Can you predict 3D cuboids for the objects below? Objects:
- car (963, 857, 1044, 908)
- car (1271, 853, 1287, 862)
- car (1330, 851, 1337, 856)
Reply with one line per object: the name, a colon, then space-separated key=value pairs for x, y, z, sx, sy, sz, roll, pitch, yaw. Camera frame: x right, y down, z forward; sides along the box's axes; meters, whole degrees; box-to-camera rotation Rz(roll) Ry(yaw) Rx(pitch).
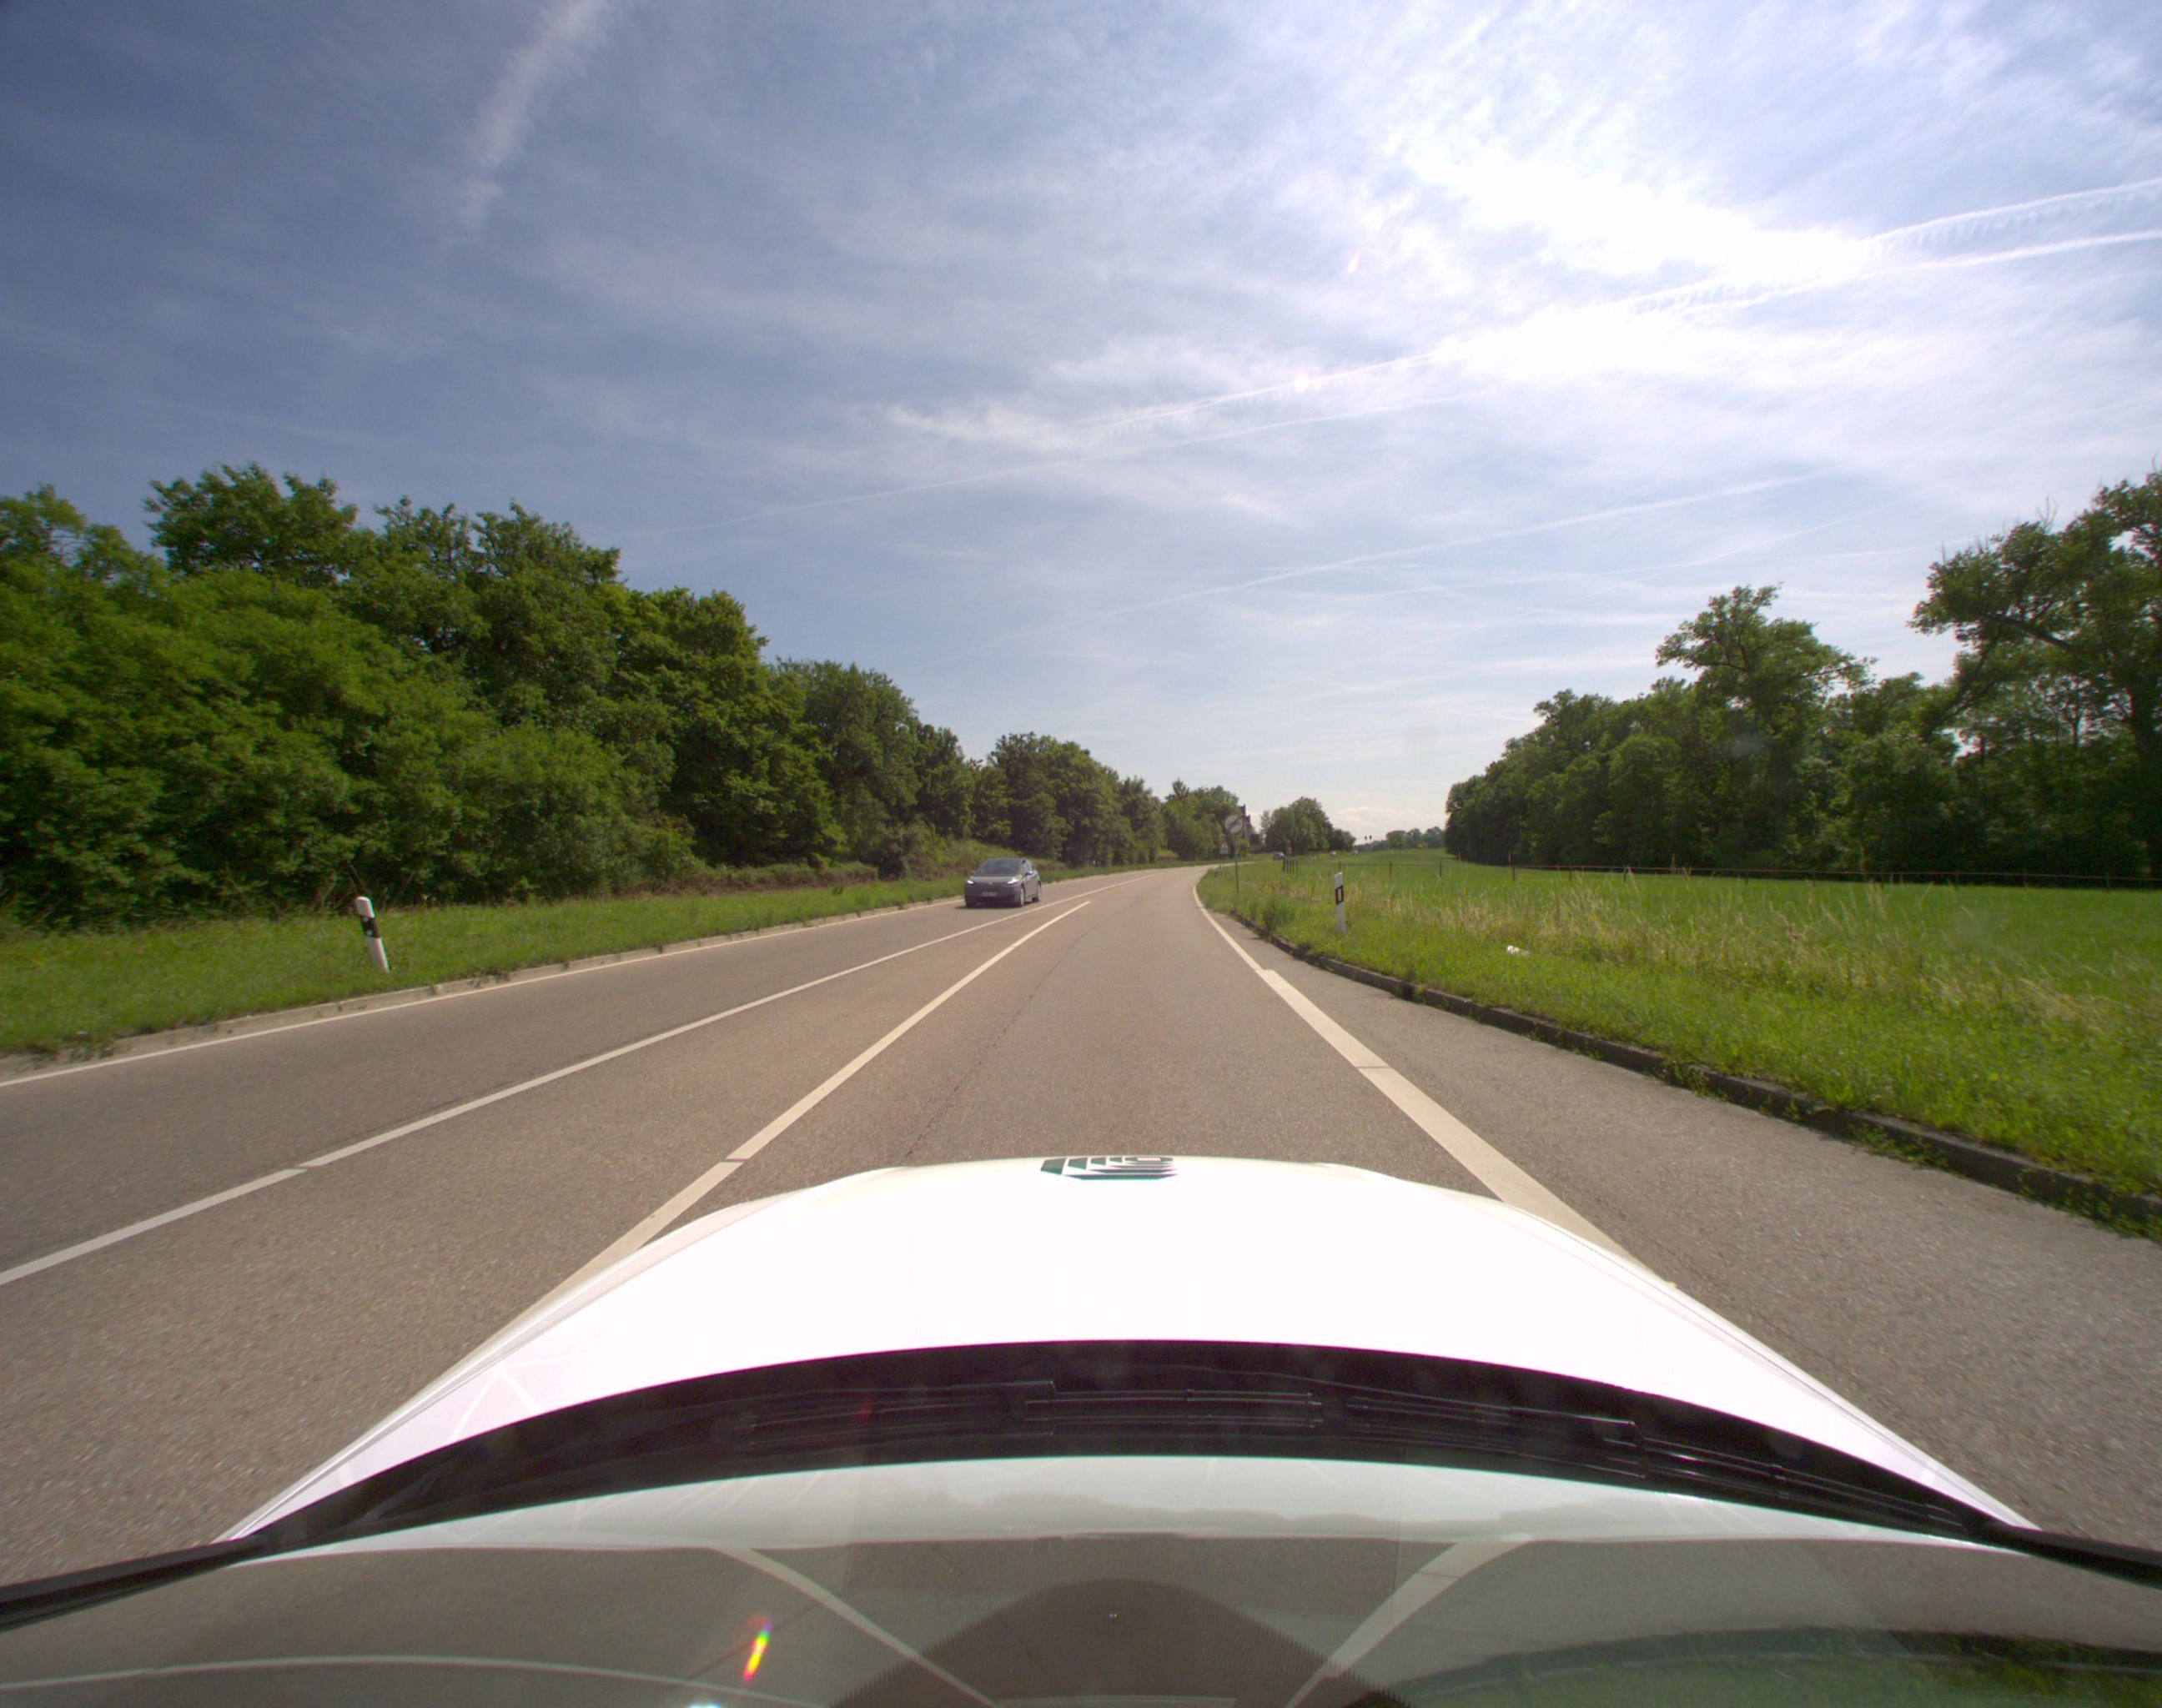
car: x=-2.447 y=0.856 z=26.734 sx=1.745 sy=1.534 sz=4.237 roll=0 pitch=0 yaw=8
car: x=36.923 y=0.654 z=151.778 sx=1.975 sy=1.574 sz=4.024 roll=-1 pitch=0 yaw=28
car: x=75.572 y=-0.144 z=243.597 sx=1.805 sy=1.469 sz=4.022 roll=0 pitch=0 yaw=23
